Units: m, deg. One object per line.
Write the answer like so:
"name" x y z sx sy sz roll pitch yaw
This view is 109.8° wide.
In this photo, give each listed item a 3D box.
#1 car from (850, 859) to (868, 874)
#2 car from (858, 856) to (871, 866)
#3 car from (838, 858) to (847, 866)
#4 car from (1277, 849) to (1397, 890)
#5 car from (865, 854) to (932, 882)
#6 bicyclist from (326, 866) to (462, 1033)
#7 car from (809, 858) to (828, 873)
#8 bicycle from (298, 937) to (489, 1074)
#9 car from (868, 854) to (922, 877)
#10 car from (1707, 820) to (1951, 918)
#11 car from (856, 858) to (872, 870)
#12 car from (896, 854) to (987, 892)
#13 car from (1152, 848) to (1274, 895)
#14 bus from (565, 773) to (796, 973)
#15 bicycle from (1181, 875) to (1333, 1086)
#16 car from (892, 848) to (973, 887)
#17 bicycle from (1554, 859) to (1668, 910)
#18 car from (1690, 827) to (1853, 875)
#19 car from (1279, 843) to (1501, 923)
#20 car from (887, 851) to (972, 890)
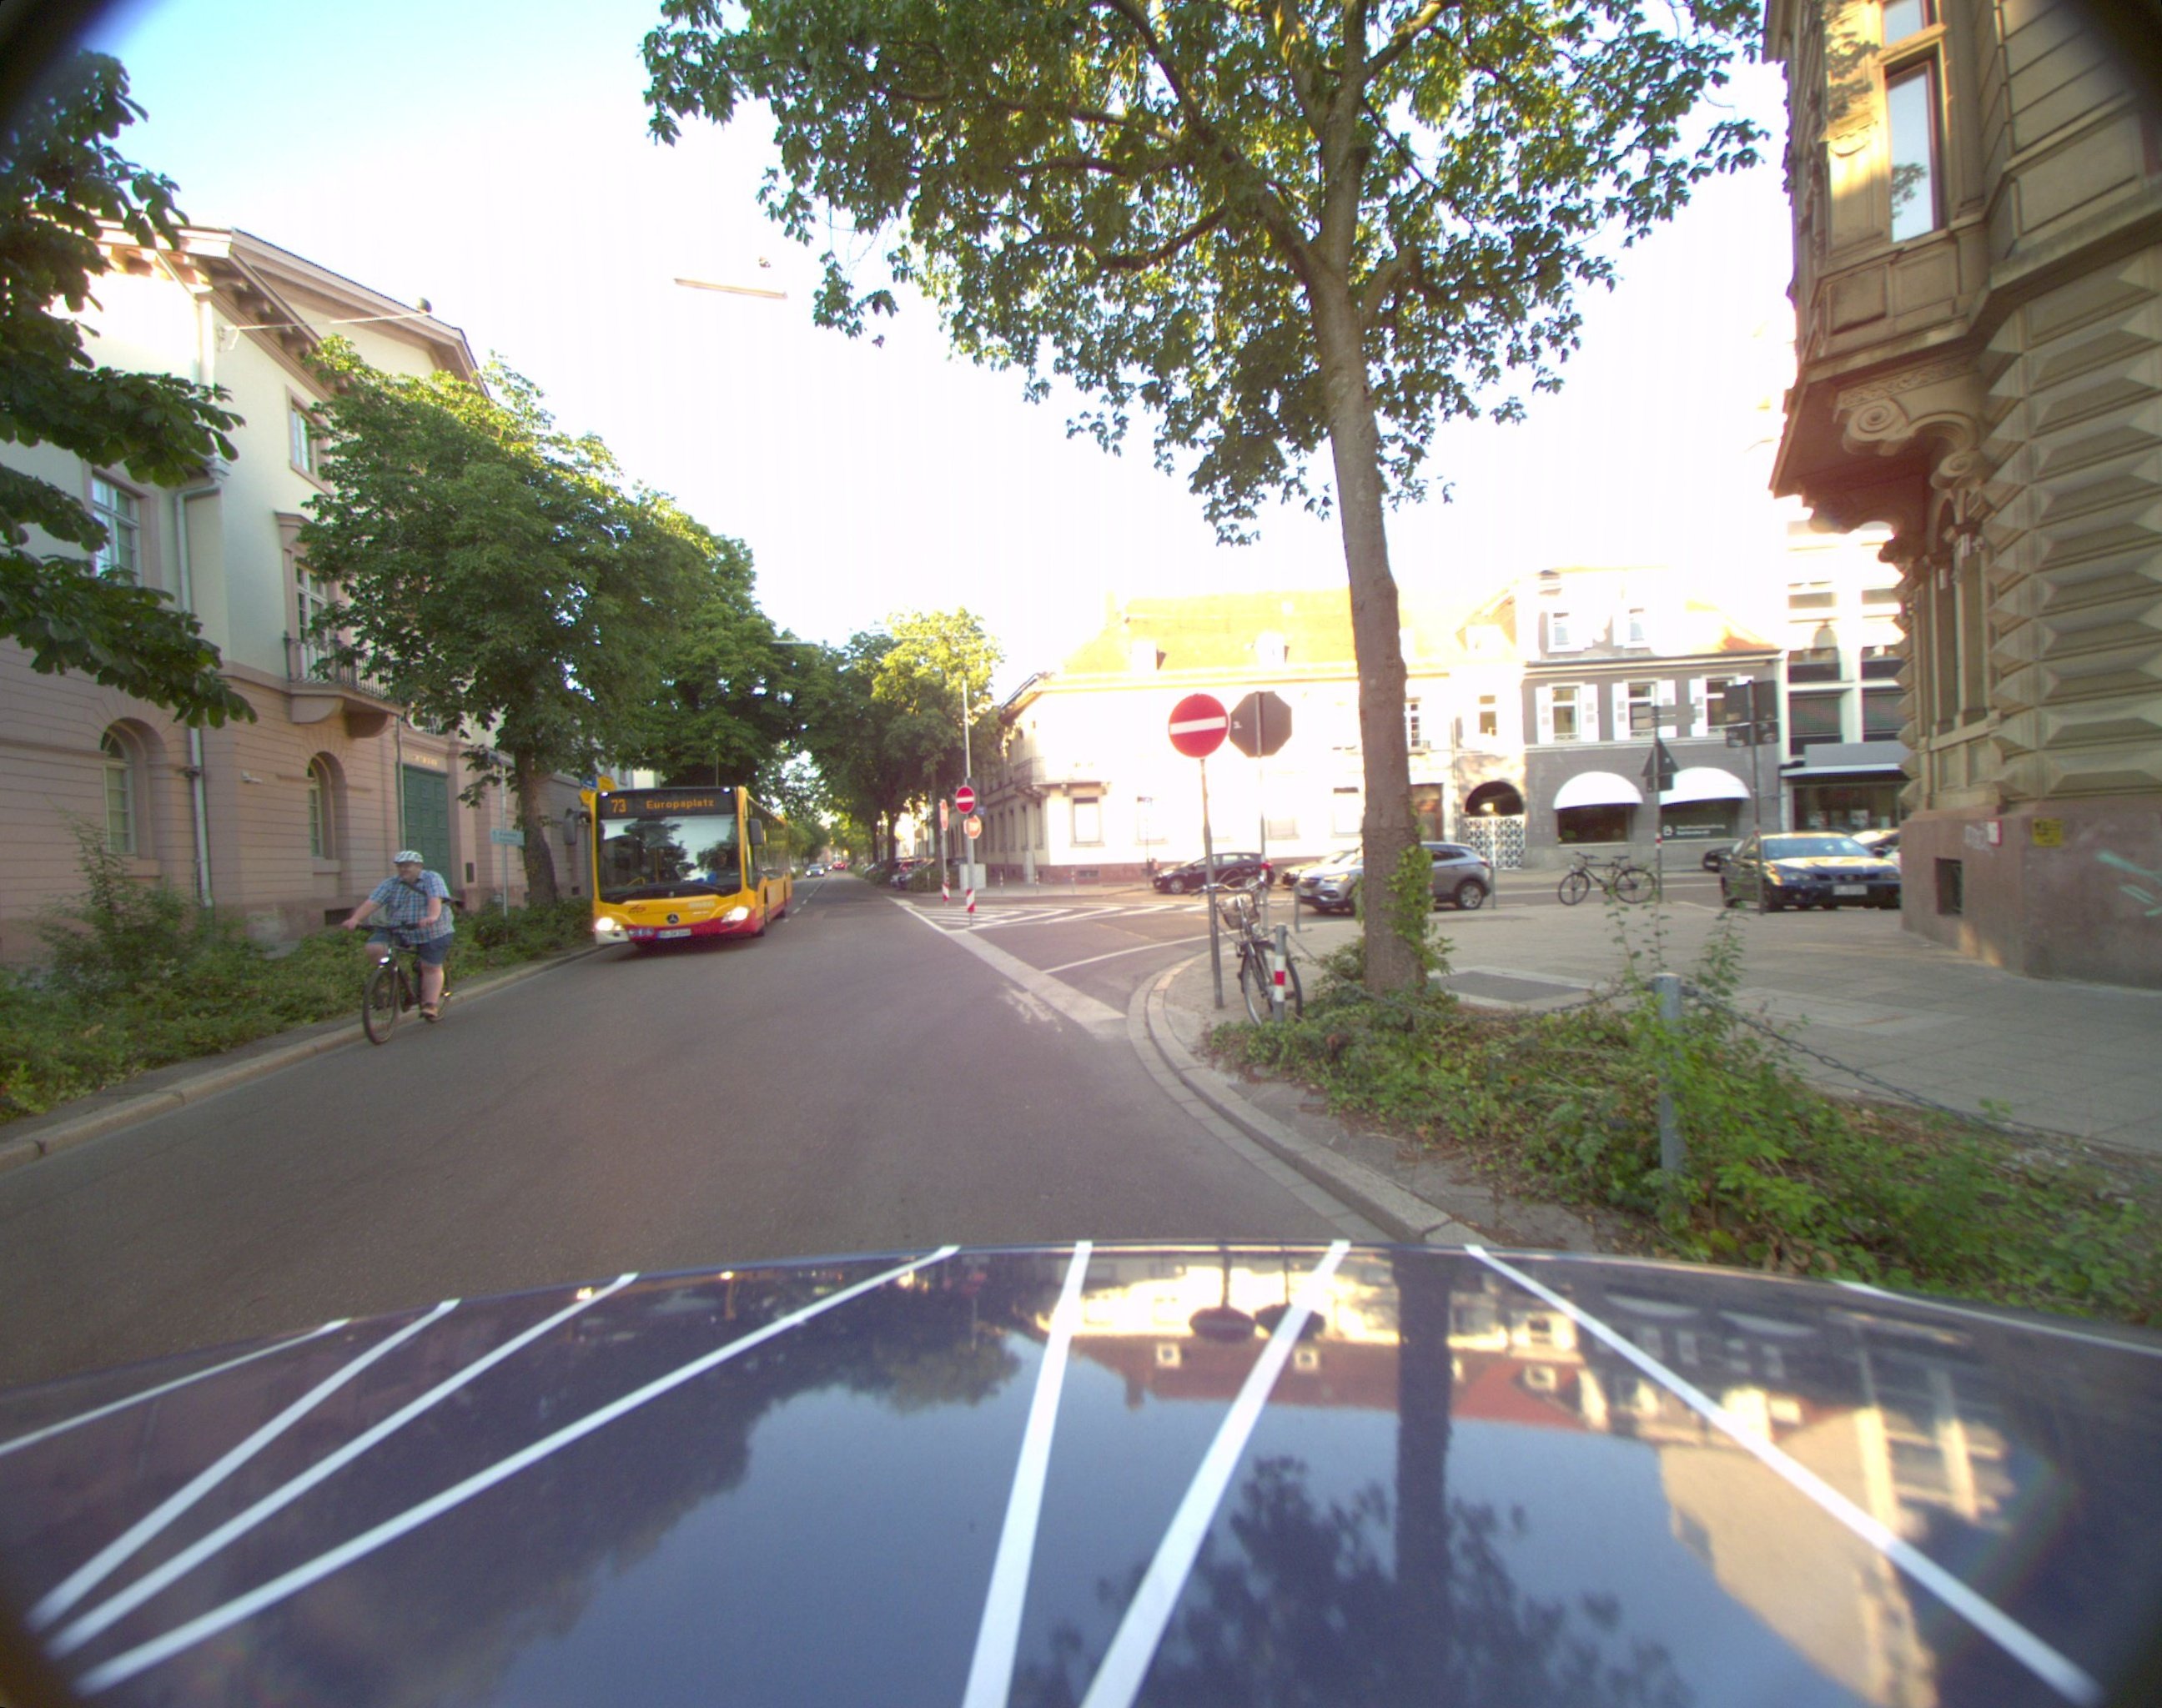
"car" -24.663 1.389 84.434 1.801 1.501 3.994 -2 0 -18
"car" -36.114 1.122 126.678 1.801 1.501 3.994 -2 0 -18
"car" -52.261 1.720 166.652 1.846 1.699 4.151 -2 0 -18
"car" 9.225 0.560 27.660 3.811 1.317 1.834 -2 1 8
"car" -12.261 0.937 51.163 4.005 1.699 1.996 -2 1 -25
"bicyclist" -6.927 0.917 7.708 0.638 1.552 0.817 -5 1 -19
"car" -30.681 1.306 88.865 1.846 1.699 3.994 -2 0 -18
"bicycle" -6.893 1.458 7.764 0.638 0.977 1.978 -5 1 -19
"car" -15.170 0.929 61.964 4.005 1.699 1.841 -2 1 -25
"car" 12.833 0.315 13.432 1.885 1.421 4.369 -2 -3 28
"car" -29.033 1.366 101.587 1.801 1.501 3.994 -2 0 -18
"car" -6.825 0.894 37.171 4.005 1.660 1.796 -2 1 -25
"car" 4.811 0.622 28.093 4.265 1.521 1.834 -2 1 7
"bus" -8.772 0.299 18.415 2.671 3.176 11.880 -4 1 -18
"bicycle" 1.258 0.835 5.976 0.806 1.217 2.419 -6 -1 7
"car" -8.249 0.728 42.149 4.005 1.940 1.996 -2 1 -25
"bicycle" 10.552 0.615 15.190 1.760 0.965 0.539 -2 -2 22
"car" 23.951 -0.118 26.487 3.811 1.482 1.834 -2 1 8
"car" 7.008 0.598 17.416 4.361 1.561 1.945 -2 1 -12
"car" -7.906 0.840 39.664 4.005 1.801 1.796 -2 1 -25
